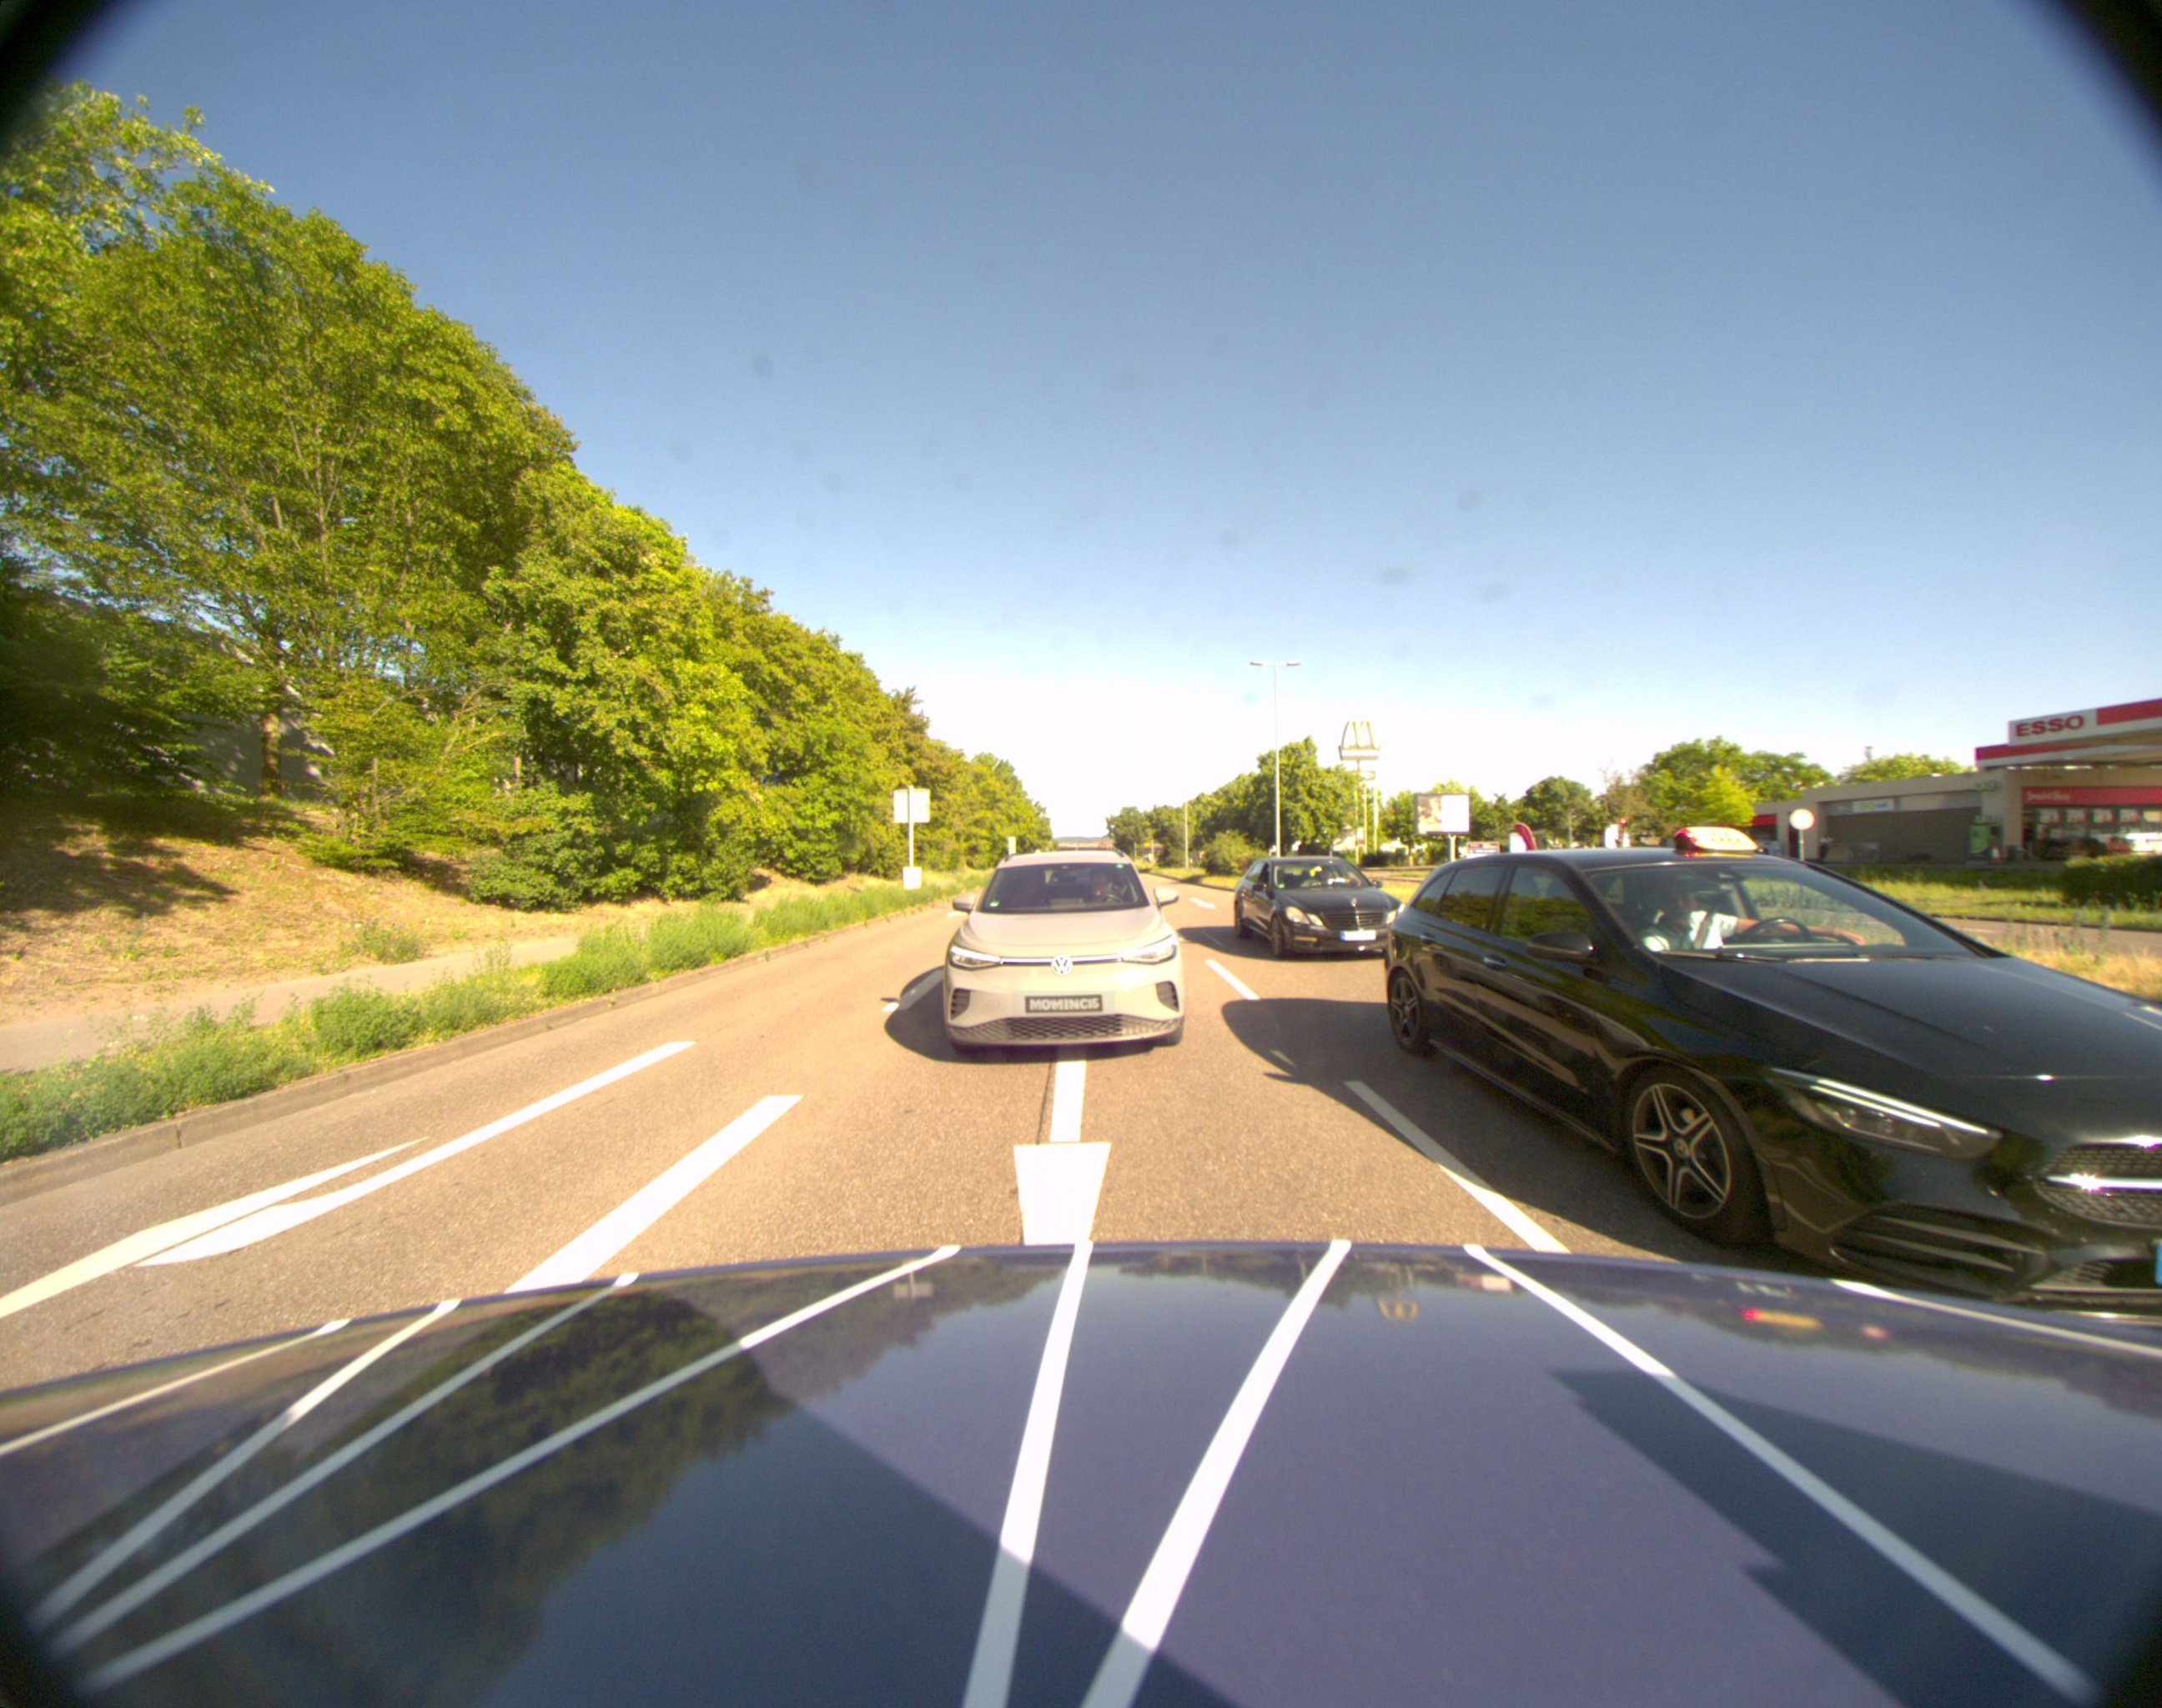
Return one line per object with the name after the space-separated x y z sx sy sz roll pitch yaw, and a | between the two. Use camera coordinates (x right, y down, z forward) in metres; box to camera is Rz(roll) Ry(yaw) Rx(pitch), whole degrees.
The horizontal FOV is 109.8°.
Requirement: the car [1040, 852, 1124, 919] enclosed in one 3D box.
0.059 0.795 21.022 2.036 1.601 4.098 -2 0 1 | car

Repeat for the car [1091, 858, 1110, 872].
2.150 1.182 83.189 1.998 1.434 4.000 -2 1 2 | car

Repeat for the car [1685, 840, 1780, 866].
36.775 -0.050 43.024 1.998 1.397 4.000 -1 0 0 | car

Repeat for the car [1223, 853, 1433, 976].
3.681 0.803 12.273 1.953 1.501 4.462 -2 1 1 | car

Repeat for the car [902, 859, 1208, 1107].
-0.151 0.896 7.237 2.025 1.601 4.098 -2 0 1 | car

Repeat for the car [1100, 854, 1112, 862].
4.343 0.651 134.195 1.998 1.433 4.000 -1 0 1 | car

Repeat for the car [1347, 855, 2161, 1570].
3.130 0.830 4.040 1.788 1.592 4.583 -2 0 0 | car
